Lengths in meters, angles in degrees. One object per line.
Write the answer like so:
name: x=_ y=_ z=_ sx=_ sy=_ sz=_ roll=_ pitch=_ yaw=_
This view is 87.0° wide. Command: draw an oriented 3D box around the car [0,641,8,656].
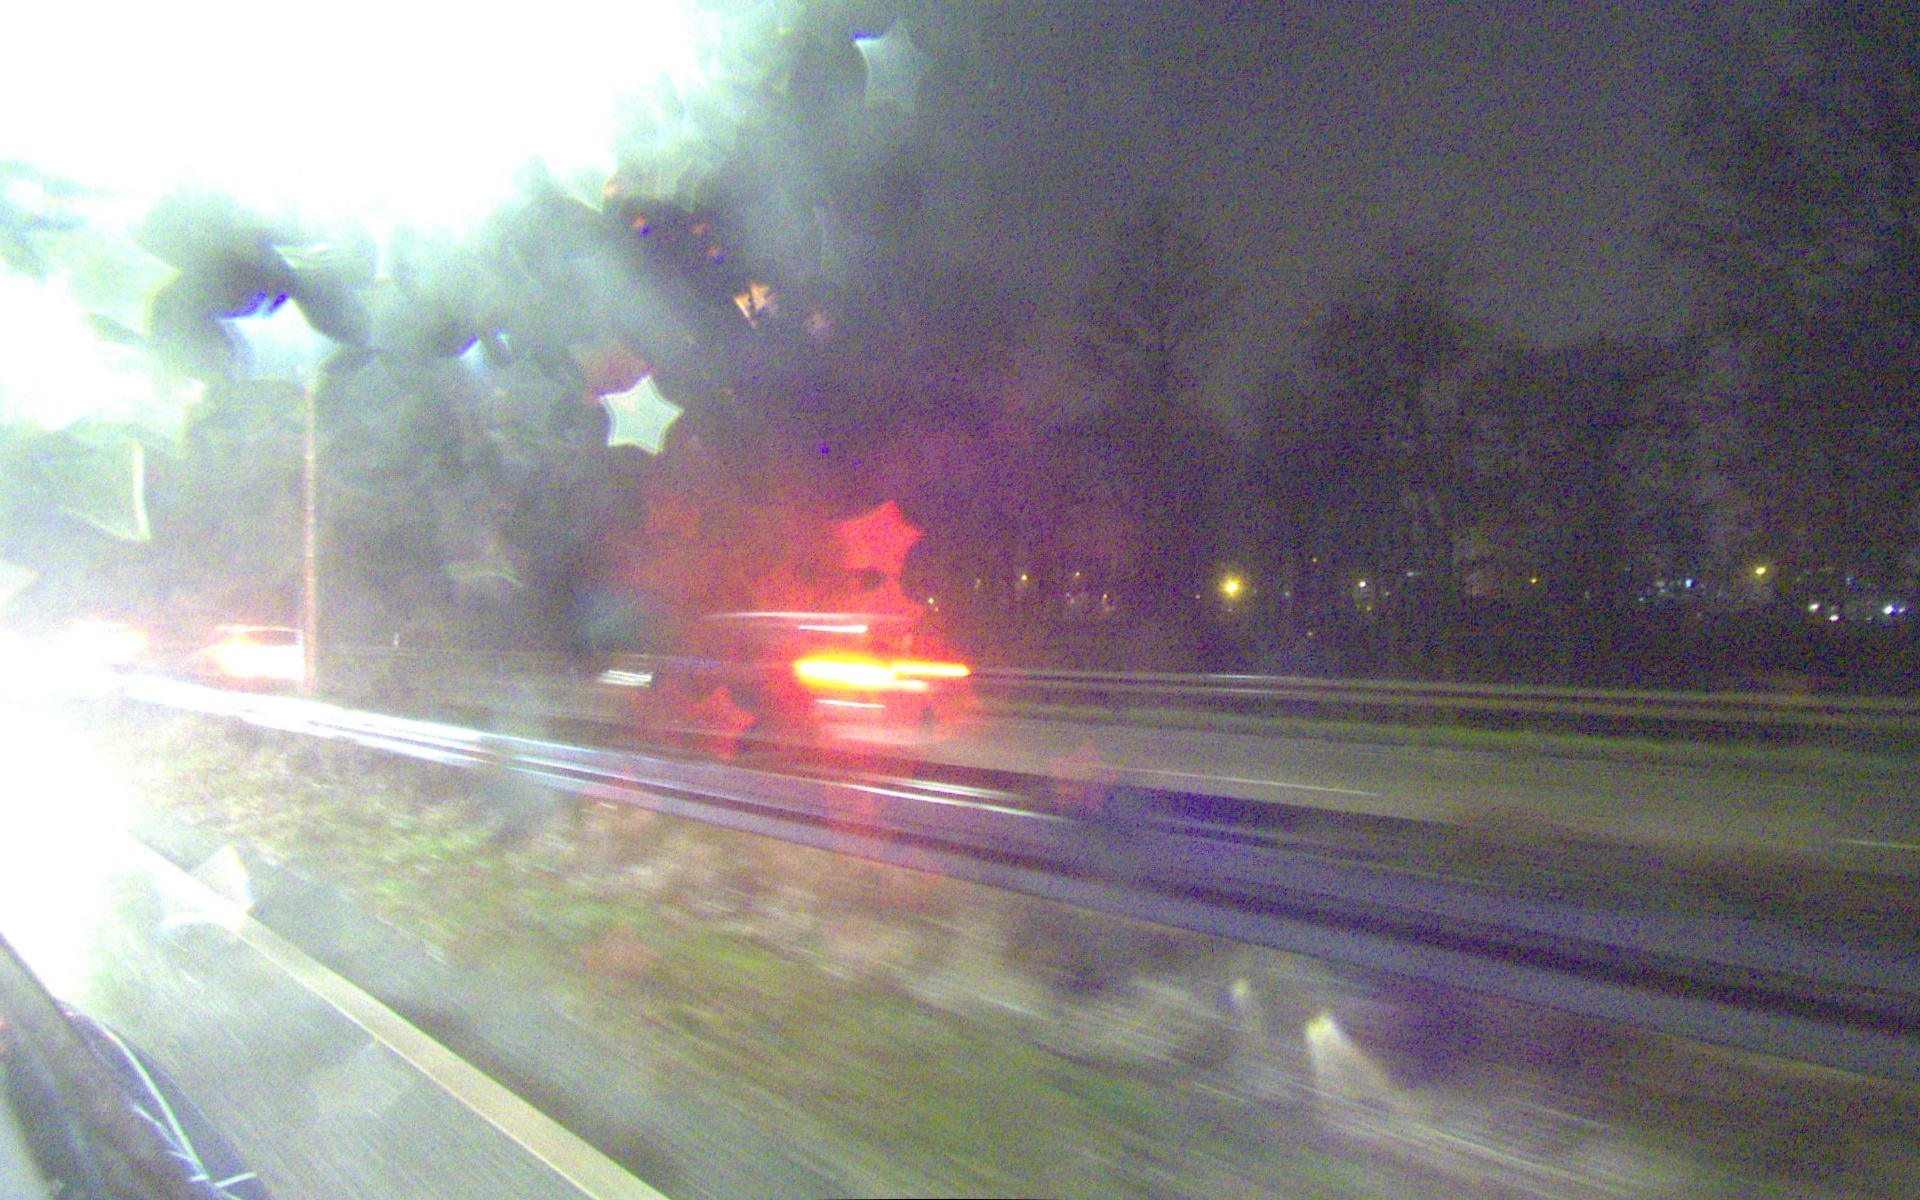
car: x=-93.855 y=4.686 z=98.318 sx=4.163 sy=1.392 sz=1.593 roll=-2 pitch=-4 yaw=42

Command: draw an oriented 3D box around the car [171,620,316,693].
car: x=-16.802 y=1.296 z=23.674 sx=4.155 sy=1.554 sz=1.552 roll=-1 pitch=-4 yaw=38

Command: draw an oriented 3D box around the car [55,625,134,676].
car: x=-30.446 y=1.733 z=35.561 sx=3.999 sy=1.664 sz=1.603 roll=-1 pitch=-2 yaw=42

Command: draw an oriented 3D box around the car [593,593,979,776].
car: x=-1.930 y=0.841 z=10.722 sx=3.994 sy=1.581 sz=1.791 roll=-2 pitch=-5 yaw=38
